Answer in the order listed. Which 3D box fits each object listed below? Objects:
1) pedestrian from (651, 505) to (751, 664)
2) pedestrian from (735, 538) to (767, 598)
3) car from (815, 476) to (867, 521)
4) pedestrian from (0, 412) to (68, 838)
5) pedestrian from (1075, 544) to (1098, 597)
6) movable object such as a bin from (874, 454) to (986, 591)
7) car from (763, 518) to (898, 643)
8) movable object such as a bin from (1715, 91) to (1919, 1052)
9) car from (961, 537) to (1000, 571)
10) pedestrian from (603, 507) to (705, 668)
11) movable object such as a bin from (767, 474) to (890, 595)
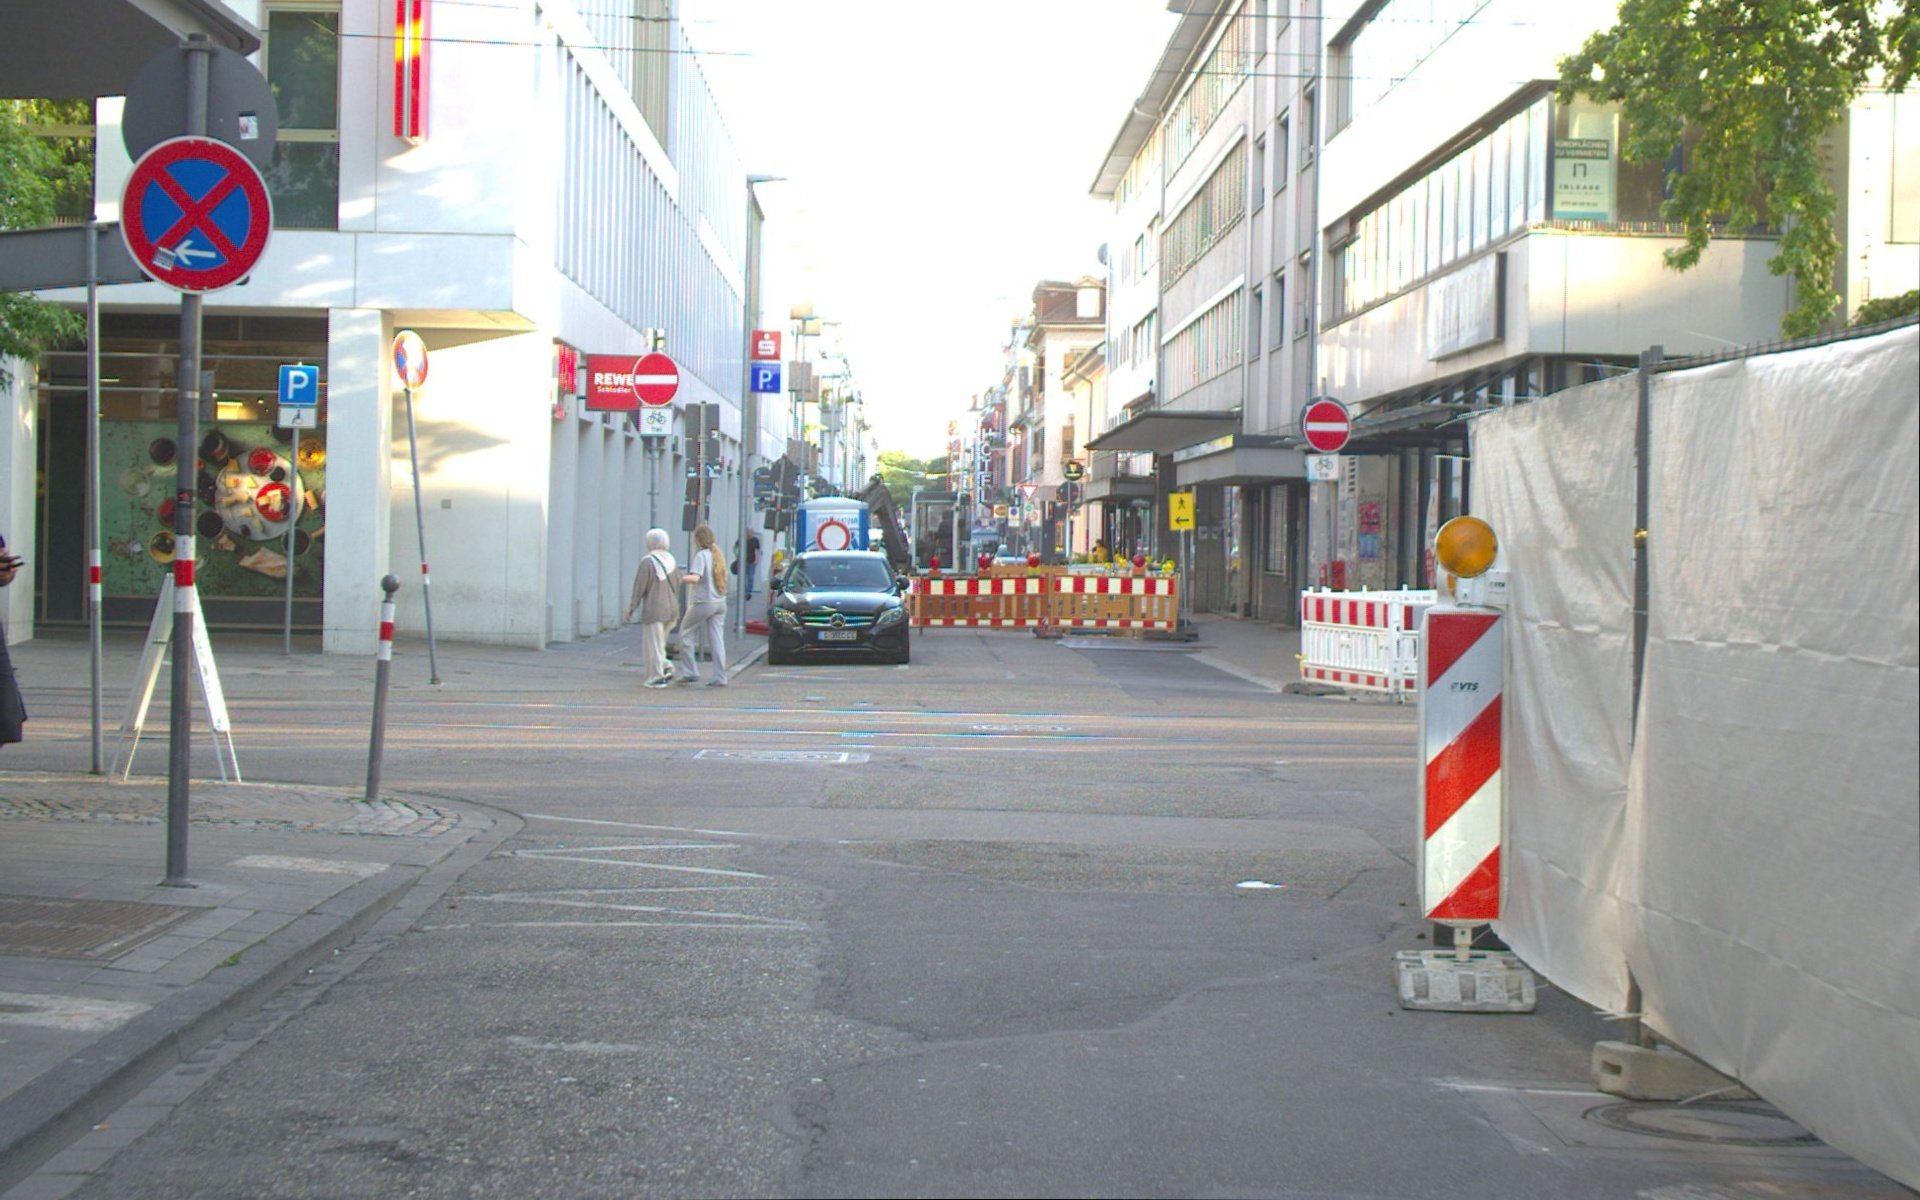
[{"bbox_3d":[-2.684,-0.171,35.602,0.872,1.622,0.610,1,2,45],"label":"pedestrian"},{"bbox_3d":[-5.094,-0.782,83.836,0.716,1.459,0.525,0,1,2],"label":"pedestrian"},{"bbox_3d":[-4.800,-4.092,139.236,1.993,1.770,4.000,0,1,-1],"label":"car"},{"bbox_3d":[-3.986,0.086,13.575,0.685,1.662,0.506,2,1,-37],"label":"pedestrian"},{"bbox_3d":[3.548,-0.839,96.383,0.524,1.459,0.718,1,1,7],"label":"pedestrian"},{"bbox_3d":[-0.629,-1.569,69.697,2.156,2.654,4.573,1,1,-1],"label":"movable object such as a bin"},{"bbox_3d":[-1.706,-0.282,44.379,1.629,1.545,3.143,0,1,-4],"label":"car"},{"bbox_3d":[4.126,-0.090,10.488,2.605,2.829,4.450,0,1,-1],"label":"movable object such as a bin"},{"bbox_3d":[1.097,-2.481,183.663,1.993,1.770,4.000,0,1,-1],"label":"car"},{"bbox_3d":[-3.131,-0.133,35.157,0.872,1.622,0.610,1,2,45],"label":"pedestrian"},{"bbox_3d":[-2.237,-1.142,59.518,1.993,2.007,4.000,0,1,0],"label":"movable object such as a bin"}]
